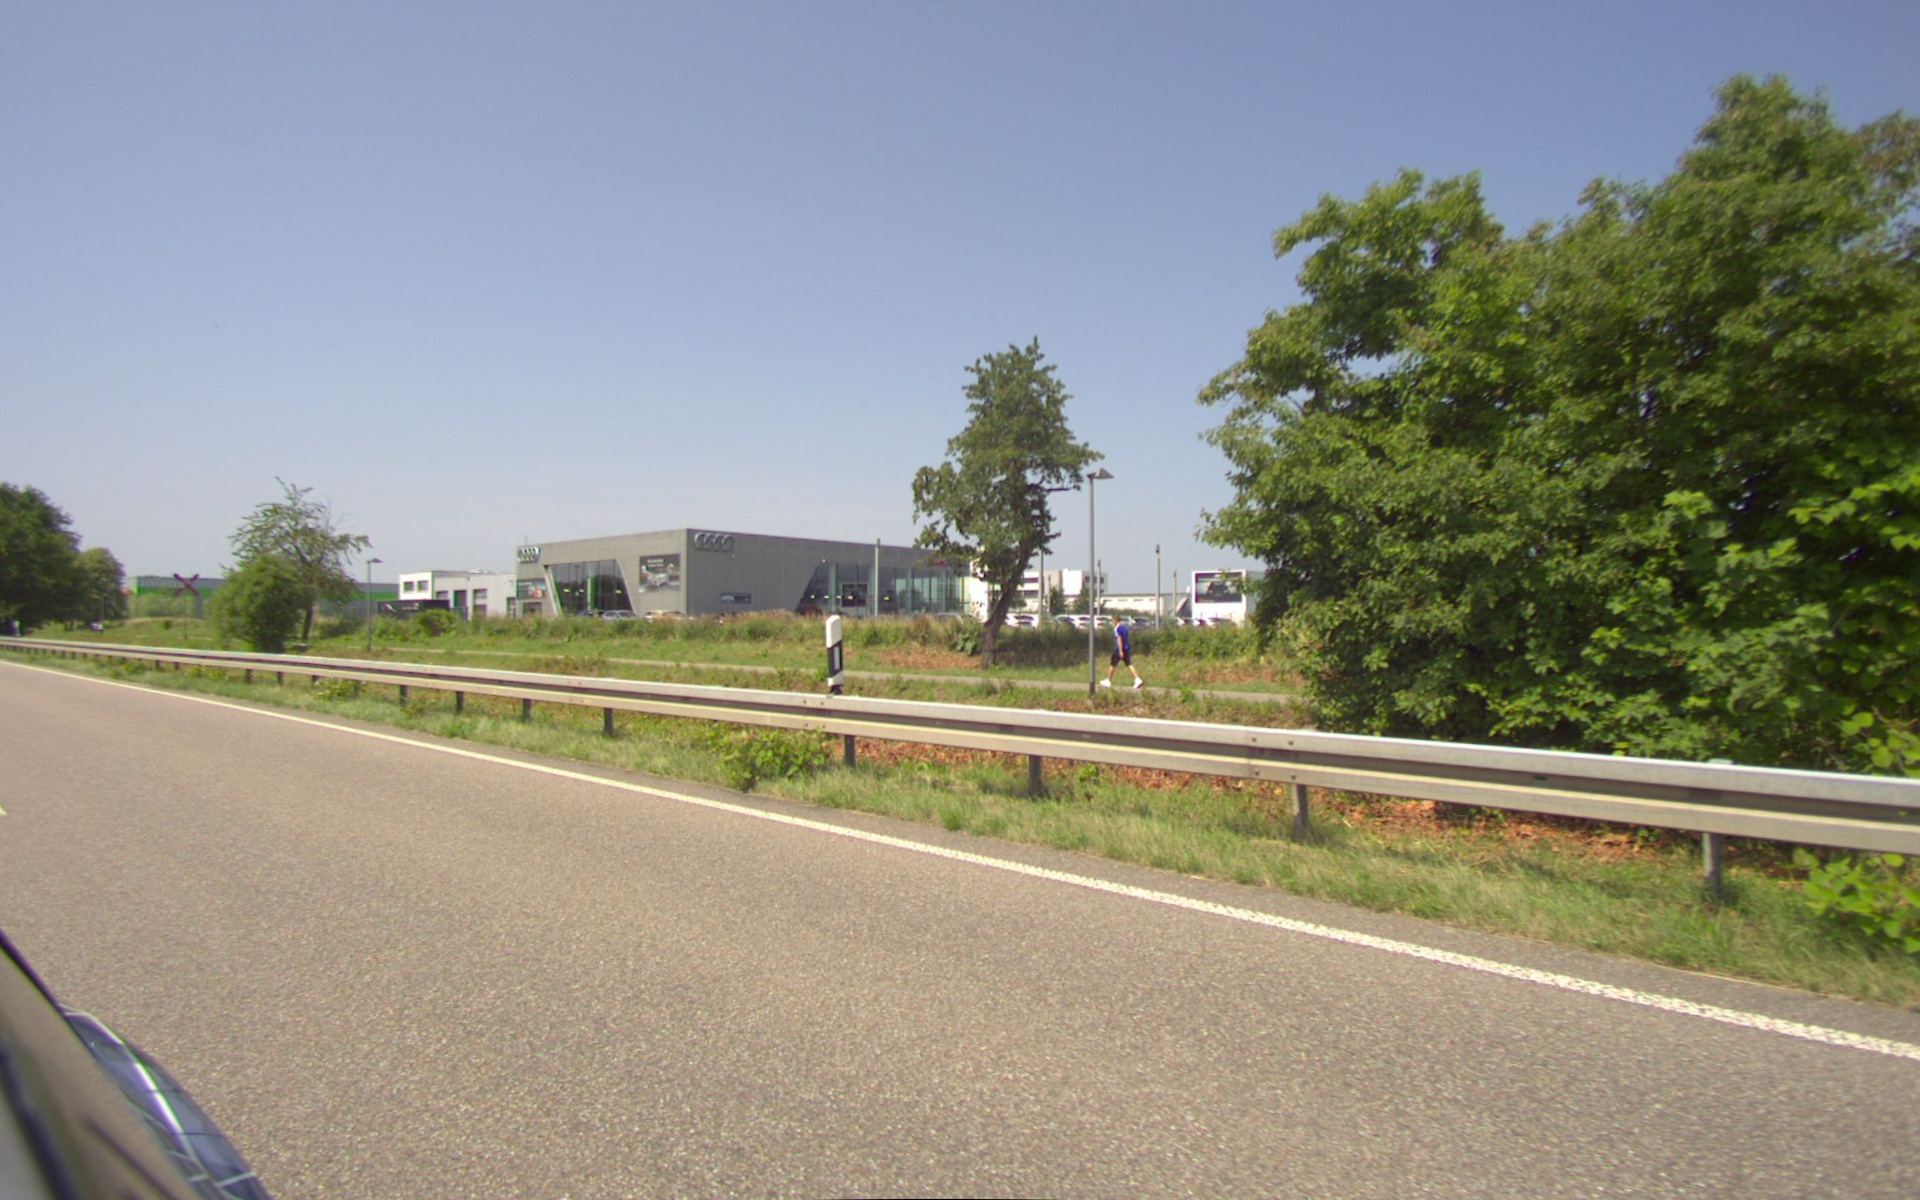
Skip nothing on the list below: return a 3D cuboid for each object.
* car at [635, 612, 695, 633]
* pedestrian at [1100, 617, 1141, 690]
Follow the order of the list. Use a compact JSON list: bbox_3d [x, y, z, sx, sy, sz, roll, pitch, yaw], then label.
[{"bbox_3d":[-21.603,1.676,74.226,1.620,1.448,4.190,-1,-3,34],"label":"car"},{"bbox_3d":[3.980,1.320,25.144,0.572,1.763,0.821,3,-3,-44],"label":"pedestrian"}]
